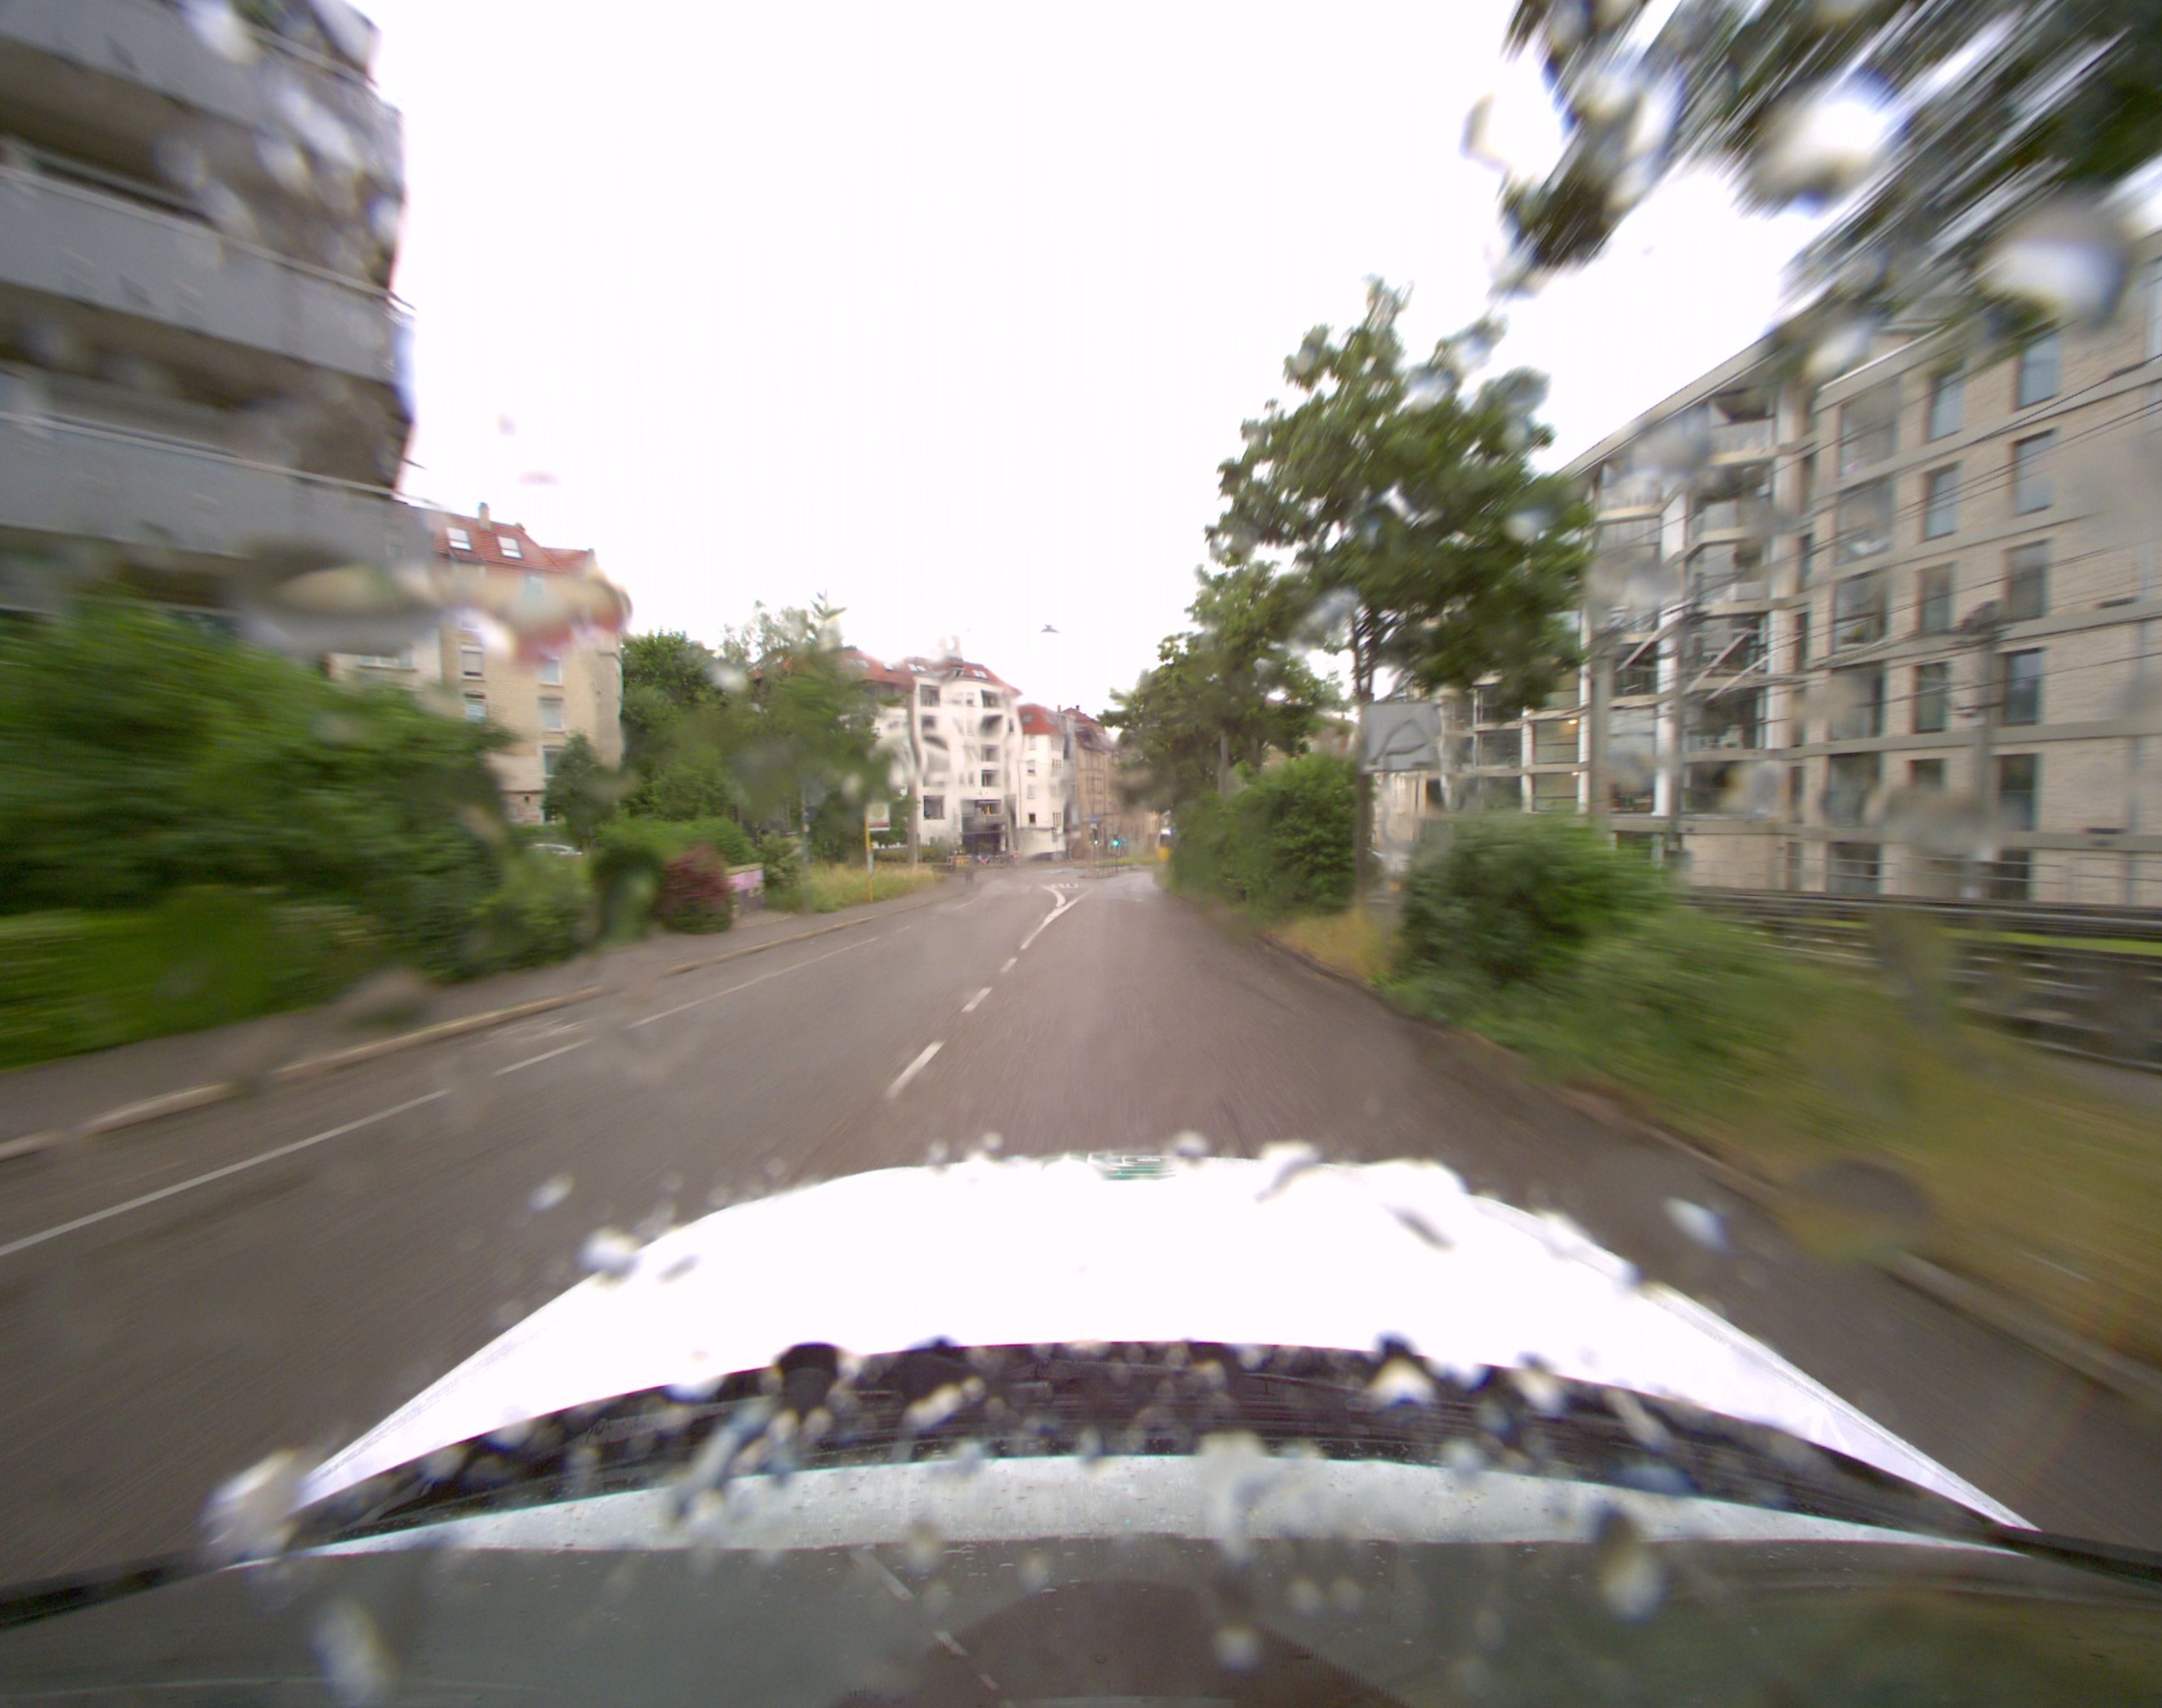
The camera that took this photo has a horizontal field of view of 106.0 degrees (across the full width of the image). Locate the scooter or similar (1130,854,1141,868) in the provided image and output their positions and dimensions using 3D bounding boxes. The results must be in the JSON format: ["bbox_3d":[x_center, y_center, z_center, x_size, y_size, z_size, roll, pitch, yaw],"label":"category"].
[{"bbox_3d":[4.420,0.547,66.086,0.429,1.113,1.614,1,1,22],"label":"scooter or similar"}]

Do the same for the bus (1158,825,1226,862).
[{"bbox_3d":[11.344,-1.037,82.131,2.565,3.469,9.165,1,0,37],"label":"bus"}]
